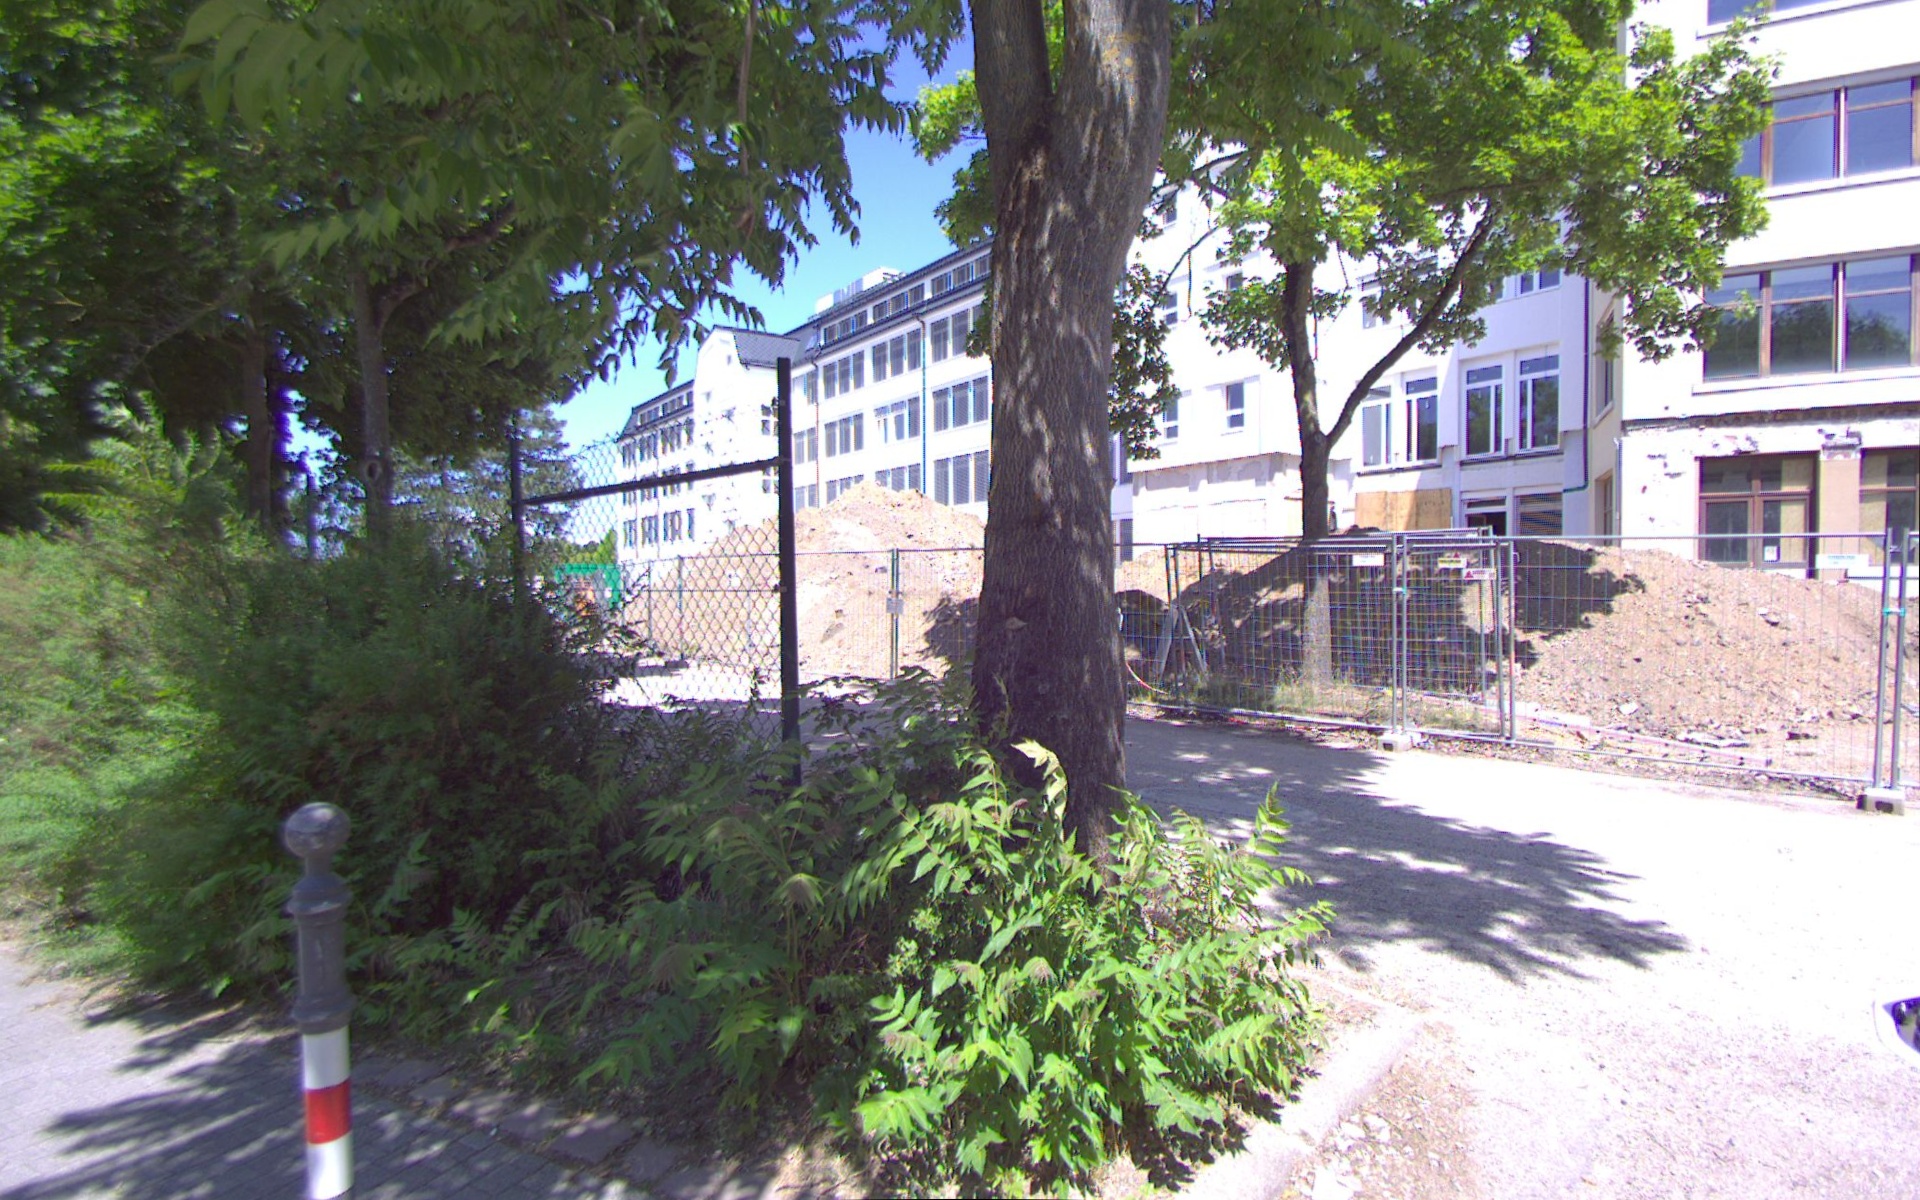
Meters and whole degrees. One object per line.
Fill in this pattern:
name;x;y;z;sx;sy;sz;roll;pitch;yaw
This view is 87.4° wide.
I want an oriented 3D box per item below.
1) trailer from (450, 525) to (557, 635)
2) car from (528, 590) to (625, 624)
trailer;-16.709;-0.667;36.417;3.004;3.467;8.706;0;1;-28
car;-17.009;0.300;44.638;3.752;1.428;1.724;0;0;-35
